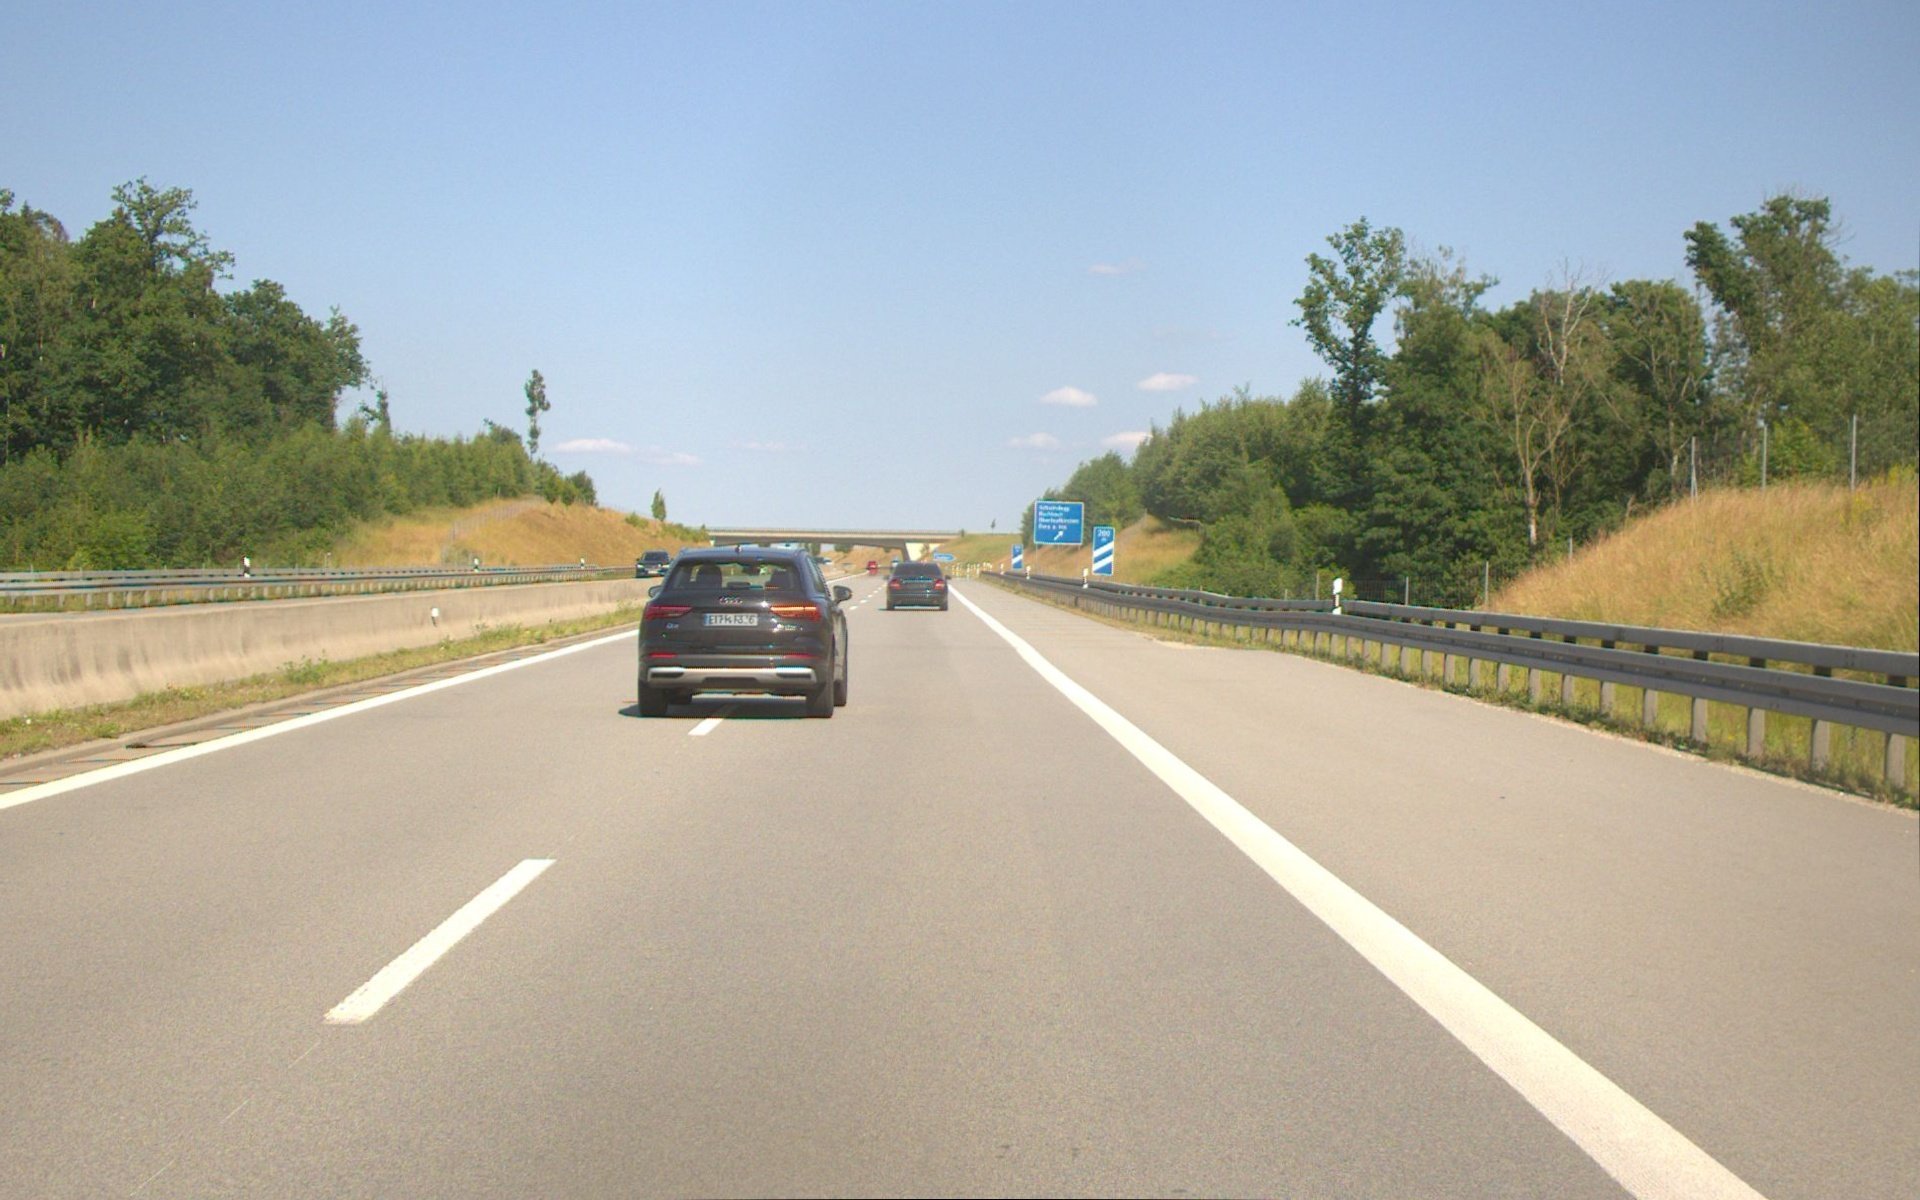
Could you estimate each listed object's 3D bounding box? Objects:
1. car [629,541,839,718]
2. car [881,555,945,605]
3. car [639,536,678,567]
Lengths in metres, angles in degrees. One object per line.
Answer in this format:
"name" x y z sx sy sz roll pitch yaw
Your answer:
"car" -2.138 0.224 33.690 1.722 1.582 5.222 1 1 0
"car" -1.336 -0.594 99.096 1.790 1.369 3.917 1 1 0
"car" -16.941 -2.712 193.254 1.901 1.686 4.269 1 1 -1
